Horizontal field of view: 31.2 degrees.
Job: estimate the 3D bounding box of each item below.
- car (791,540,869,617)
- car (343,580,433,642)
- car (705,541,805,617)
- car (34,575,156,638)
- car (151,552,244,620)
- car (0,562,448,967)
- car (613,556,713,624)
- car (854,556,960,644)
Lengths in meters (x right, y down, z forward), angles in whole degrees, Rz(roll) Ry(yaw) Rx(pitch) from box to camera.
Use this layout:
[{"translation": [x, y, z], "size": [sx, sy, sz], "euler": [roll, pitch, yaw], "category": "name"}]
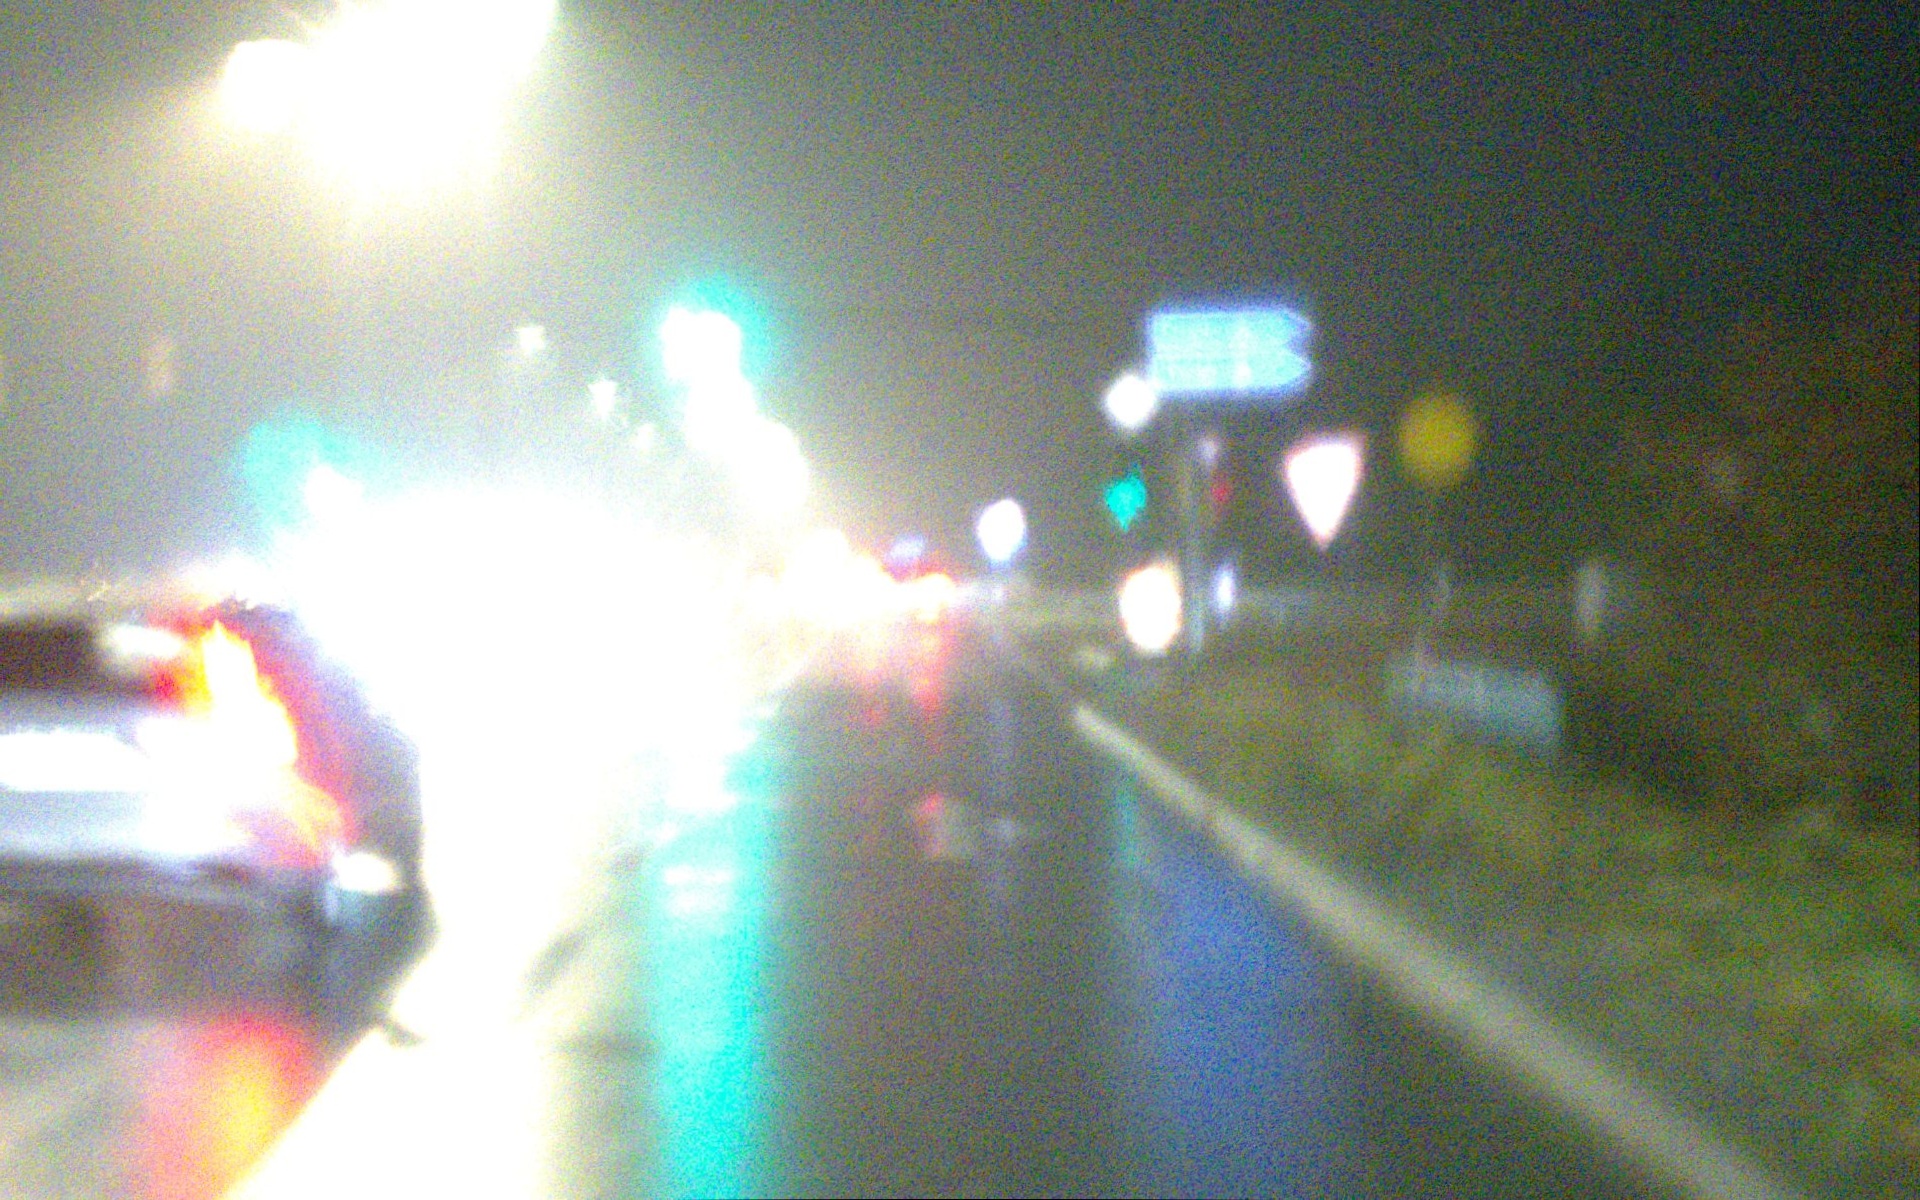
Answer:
[{"translation": [-3.719, -0.598, 98.996], "size": [1.993, 1.832, 3.999], "euler": [5, -3, 0], "category": "car"}, {"translation": [-13.745, 0.254, 82.736], "size": [1.589, 1.422, 3.350], "euler": [0, 1, 0], "category": "car"}, {"translation": [-5.120, -0.516, 86.377], "size": [2.177, 1.596, 4.000], "euler": [4, -2, 0], "category": "car"}, {"translation": [-17.072, 0.108, 67.987], "size": [1.643, 1.199, 3.615], "euler": [0, 1, -2], "category": "car"}, {"translation": [-21.554, -0.409, 97.318], "size": [1.762, 1.886, 4.206], "euler": [0, 1, -1], "category": "car"}, {"translation": [-3.385, 0.576, 14.625], "size": [1.796, 1.447, 4.269], "euler": [0, 1, 0], "category": "car"}, {"translation": [-8.348, -0.272, 96.939], "size": [2.178, 1.596, 3.999], "euler": [4, -2, 3], "category": "car"}, {"translation": [-1.087, 0.024, 72.890], "size": [1.910, 1.596, 3.999], "euler": [4, -2, 3], "category": "car"}]
